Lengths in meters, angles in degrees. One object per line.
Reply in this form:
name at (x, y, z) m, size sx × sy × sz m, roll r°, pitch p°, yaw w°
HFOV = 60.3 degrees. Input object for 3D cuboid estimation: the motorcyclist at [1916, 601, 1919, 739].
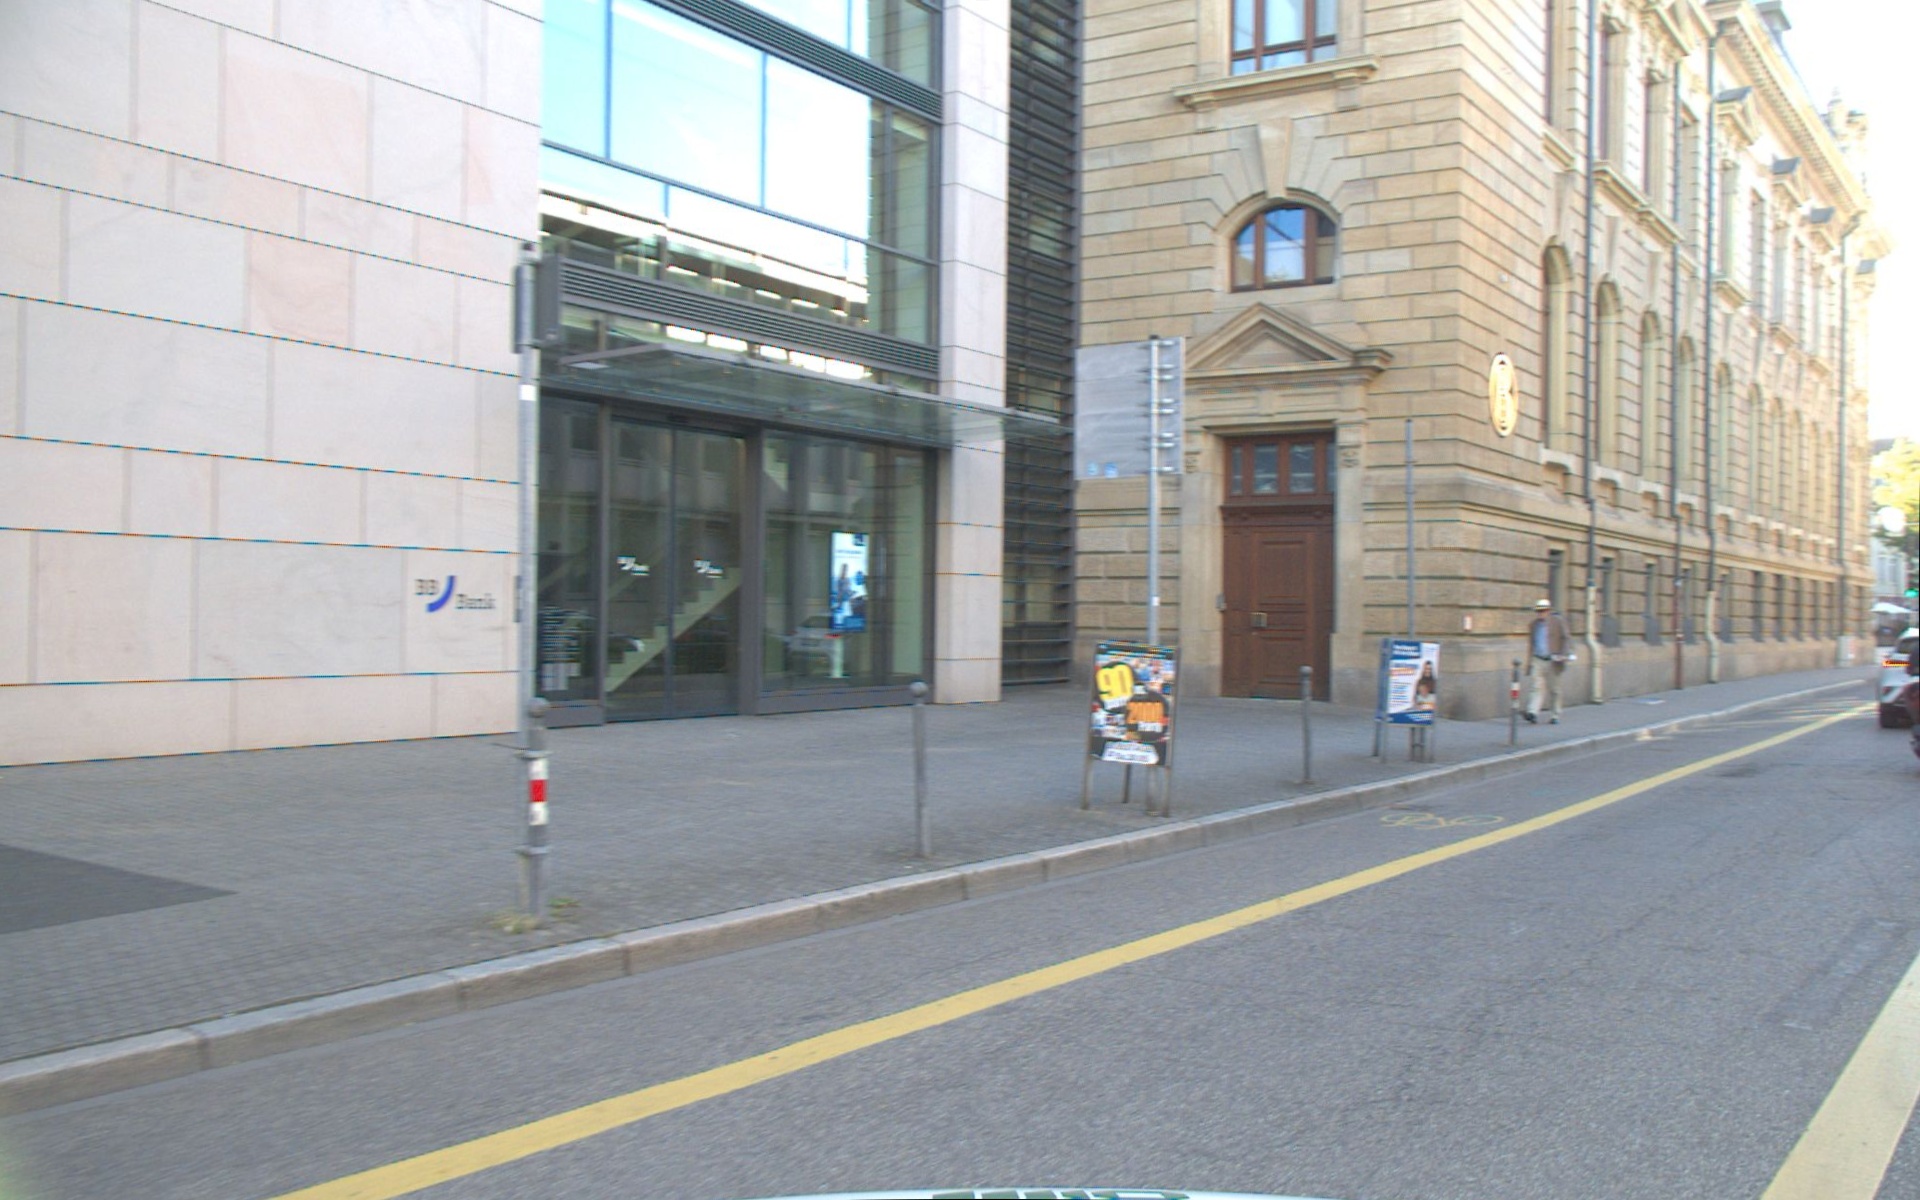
motorcyclist at (10.535, 0.738, 17.265) m, size 0.452 × 1.452 × 0.856 m, roll 2°, pitch -2°, yaw -44°

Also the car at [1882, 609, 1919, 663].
car at (33.698, 1.210, 57.470) m, size 1.951 × 1.693 × 4.361 m, roll -3°, pitch 0°, yaw 17°

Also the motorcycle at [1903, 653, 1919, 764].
motorcycle at (10.575, 1.120, 17.282) m, size 0.860 × 1.129 × 1.828 m, roll -1°, pitch -2°, yaw 43°

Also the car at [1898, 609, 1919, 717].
car at (15.729, 0.955, 25.681) m, size 1.790 × 1.568 × 4.251 m, roll 1°, pitch 0°, yaw 33°

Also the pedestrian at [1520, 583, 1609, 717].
pedestrian at (8.673, 0.708, 23.719) m, size 0.828 × 1.831 × 1.069 m, roll 4°, pitch 1°, yaw 38°
